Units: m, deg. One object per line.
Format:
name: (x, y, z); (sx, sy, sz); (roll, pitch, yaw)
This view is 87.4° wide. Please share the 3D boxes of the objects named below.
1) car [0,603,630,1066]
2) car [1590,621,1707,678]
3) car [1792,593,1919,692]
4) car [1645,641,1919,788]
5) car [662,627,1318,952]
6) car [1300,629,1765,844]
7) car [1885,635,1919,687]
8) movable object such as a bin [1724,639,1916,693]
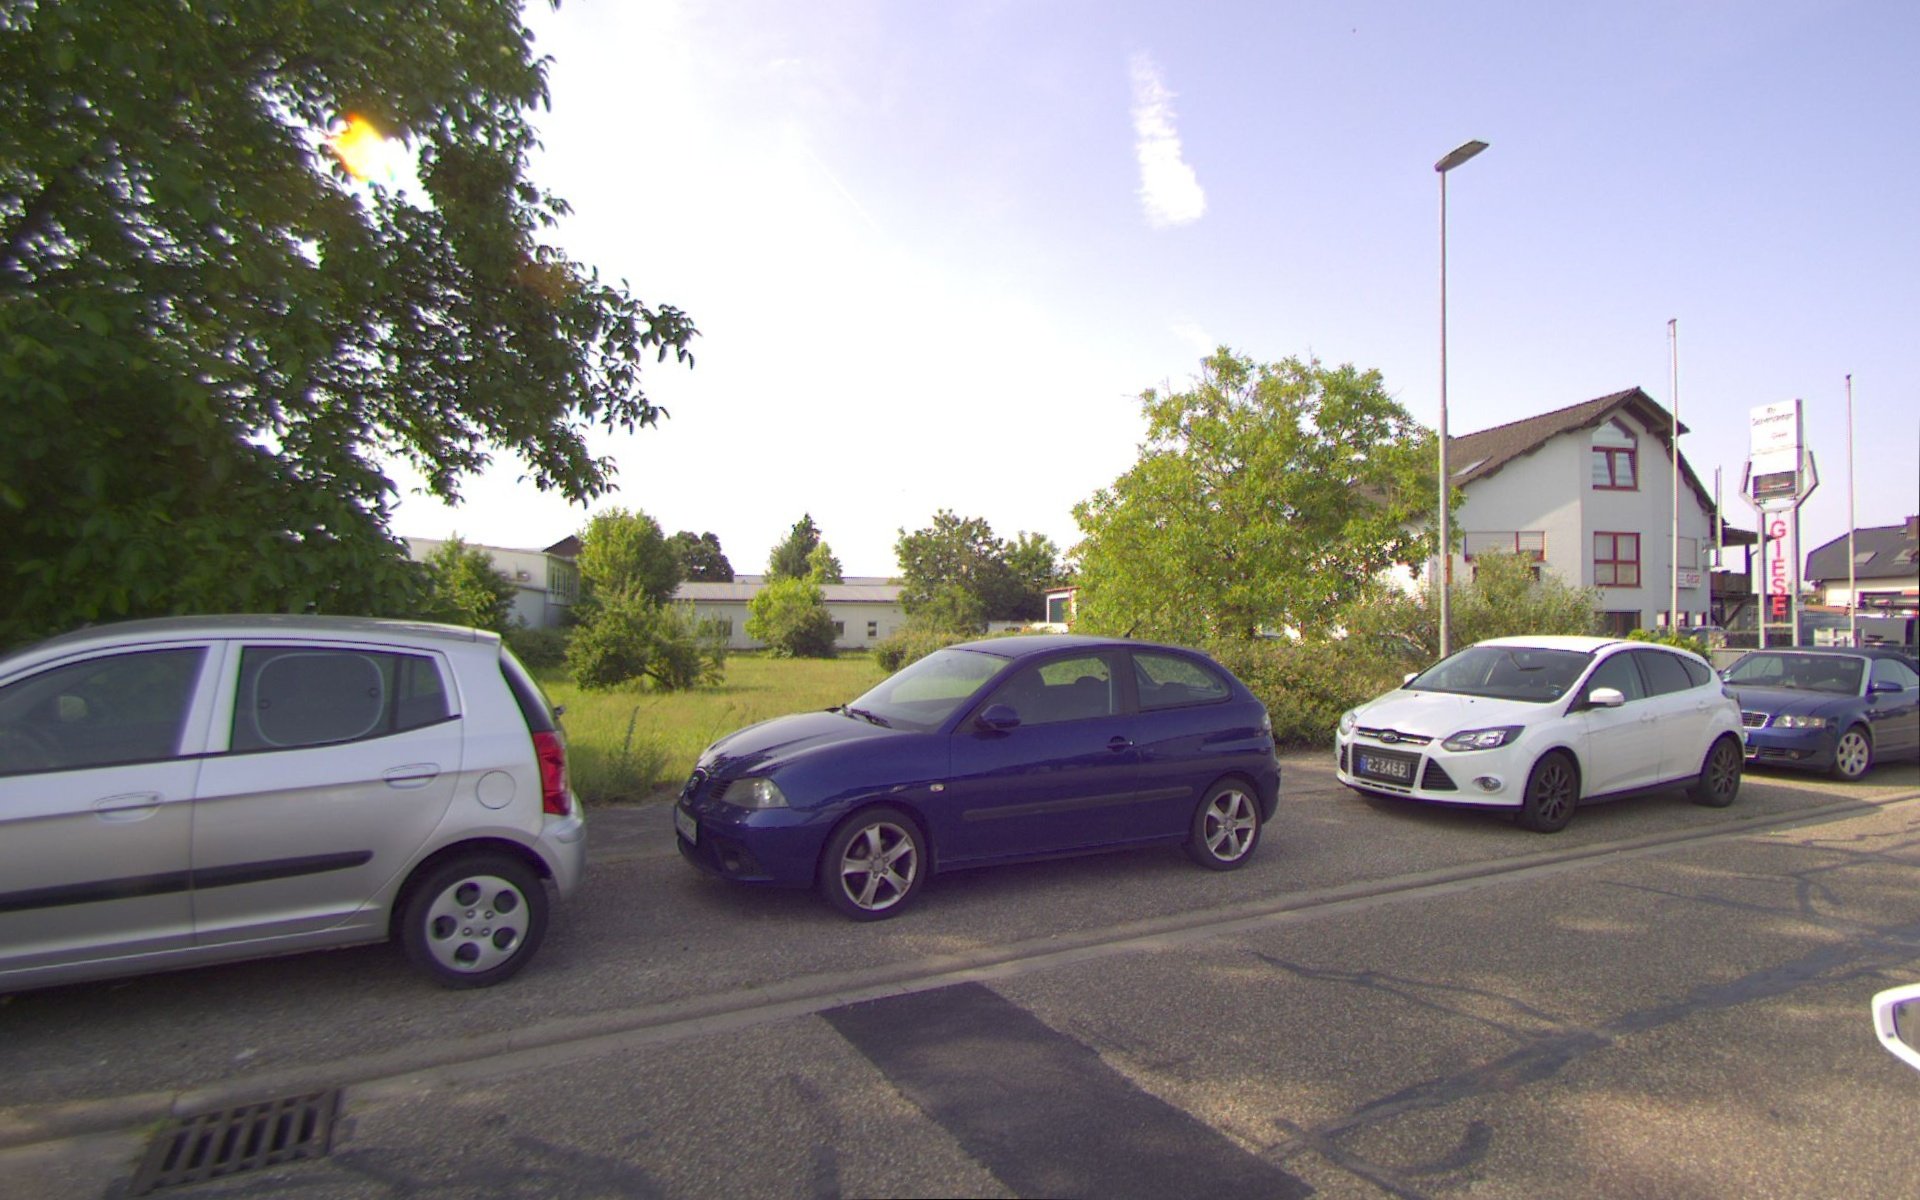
car: (-3.399, 0.808, 4.214); (3.640, 1.558, 1.561); (1, 0, -27)
car: (21.183, 1.505, 30.891); (3.431, 1.683, 1.540); (1, -2, -28)
car: (24.450, 1.076, 25.568); (1.974, 2.448, 4.612); (1, -2, -26)
car: (10.085, 1.218, 11.815); (4.317, 1.406, 1.626); (1, 0, -30)
car: (0.297, 0.938, 6.337); (3.917, 1.463, 1.571); (1, 0, -31)
car: (5.164, 1.042, 8.940); (4.202, 1.489, 1.676); (1, 0, -29)
car: (28.114, 1.729, 27.644); (1.742, 1.433, 3.568); (1, 0, -32)
movable object such as a bin: (21.805, 1.625, 25.608); (1.735, 1.162, 3.319); (1, 0, -20)
